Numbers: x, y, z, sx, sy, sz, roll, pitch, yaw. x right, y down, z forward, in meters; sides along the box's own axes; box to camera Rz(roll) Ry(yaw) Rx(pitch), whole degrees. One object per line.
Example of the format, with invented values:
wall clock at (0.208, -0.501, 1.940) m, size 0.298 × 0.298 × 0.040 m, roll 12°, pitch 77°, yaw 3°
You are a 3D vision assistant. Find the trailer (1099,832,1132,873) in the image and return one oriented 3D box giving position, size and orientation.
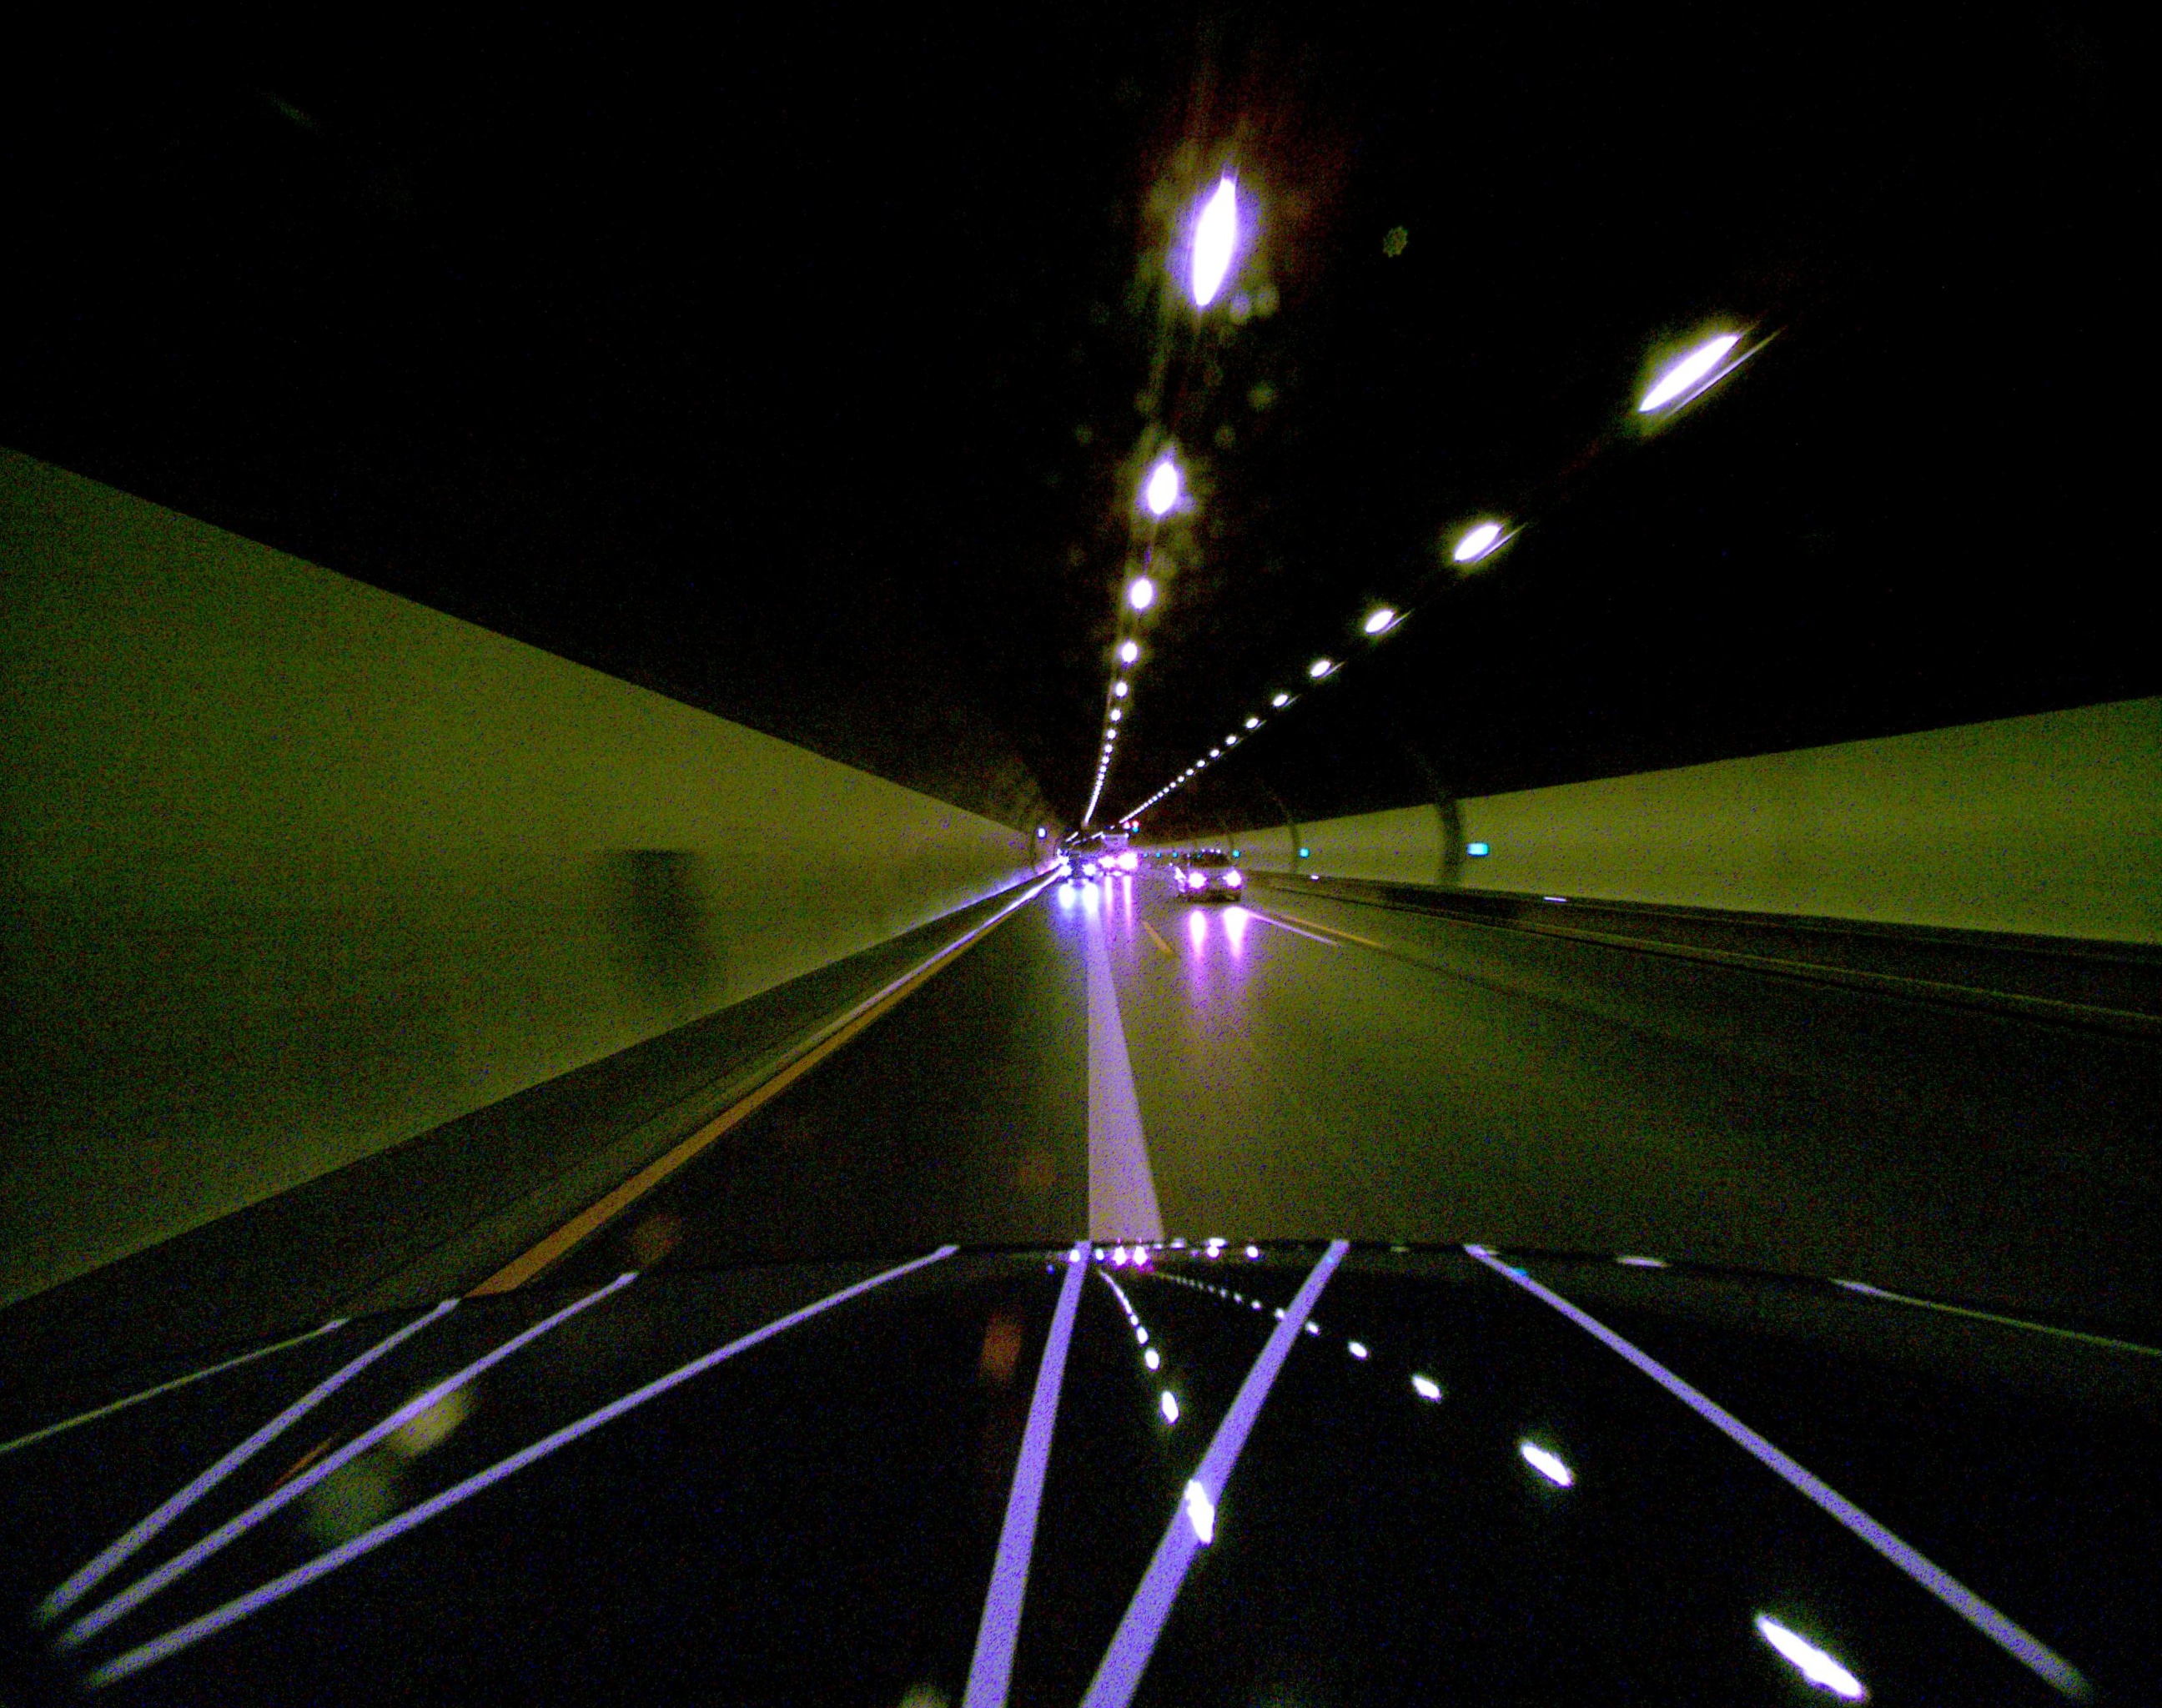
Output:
trailer at (2.891, -0.113, 66.651) m, size 2.374 × 3.328 × 12.079 m, roll 0°, pitch 0°, yaw 1°

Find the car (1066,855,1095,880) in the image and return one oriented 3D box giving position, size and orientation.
car at (-0.017, 0.799, 47.284) m, size 1.728 × 1.474 × 4.000 m, roll -1°, pitch 0°, yaw 1°

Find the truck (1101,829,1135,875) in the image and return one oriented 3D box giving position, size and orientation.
truck at (2.844, -0.162, 59.908) m, size 2.374 × 3.328 × 4.719 m, roll -3°, pitch 0°, yaw 1°

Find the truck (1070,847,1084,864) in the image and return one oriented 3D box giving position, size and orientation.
truck at (-0.717, 0.257, 126.769) m, size 2.151 × 2.608 × 9.907 m, roll -1°, pitch -2°, yaw -2°

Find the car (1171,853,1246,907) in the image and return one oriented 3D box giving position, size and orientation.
car at (4.053, 0.783, 24.721) m, size 1.766 × 1.563 × 4.097 m, roll -1°, pitch 0°, yaw 1°

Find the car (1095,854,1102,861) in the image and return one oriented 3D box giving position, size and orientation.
car at (5.108, 1.076, 217.491) m, size 1.929 × 2.002 × 4.000 m, roll -2°, pitch 0°, yaw 1°
